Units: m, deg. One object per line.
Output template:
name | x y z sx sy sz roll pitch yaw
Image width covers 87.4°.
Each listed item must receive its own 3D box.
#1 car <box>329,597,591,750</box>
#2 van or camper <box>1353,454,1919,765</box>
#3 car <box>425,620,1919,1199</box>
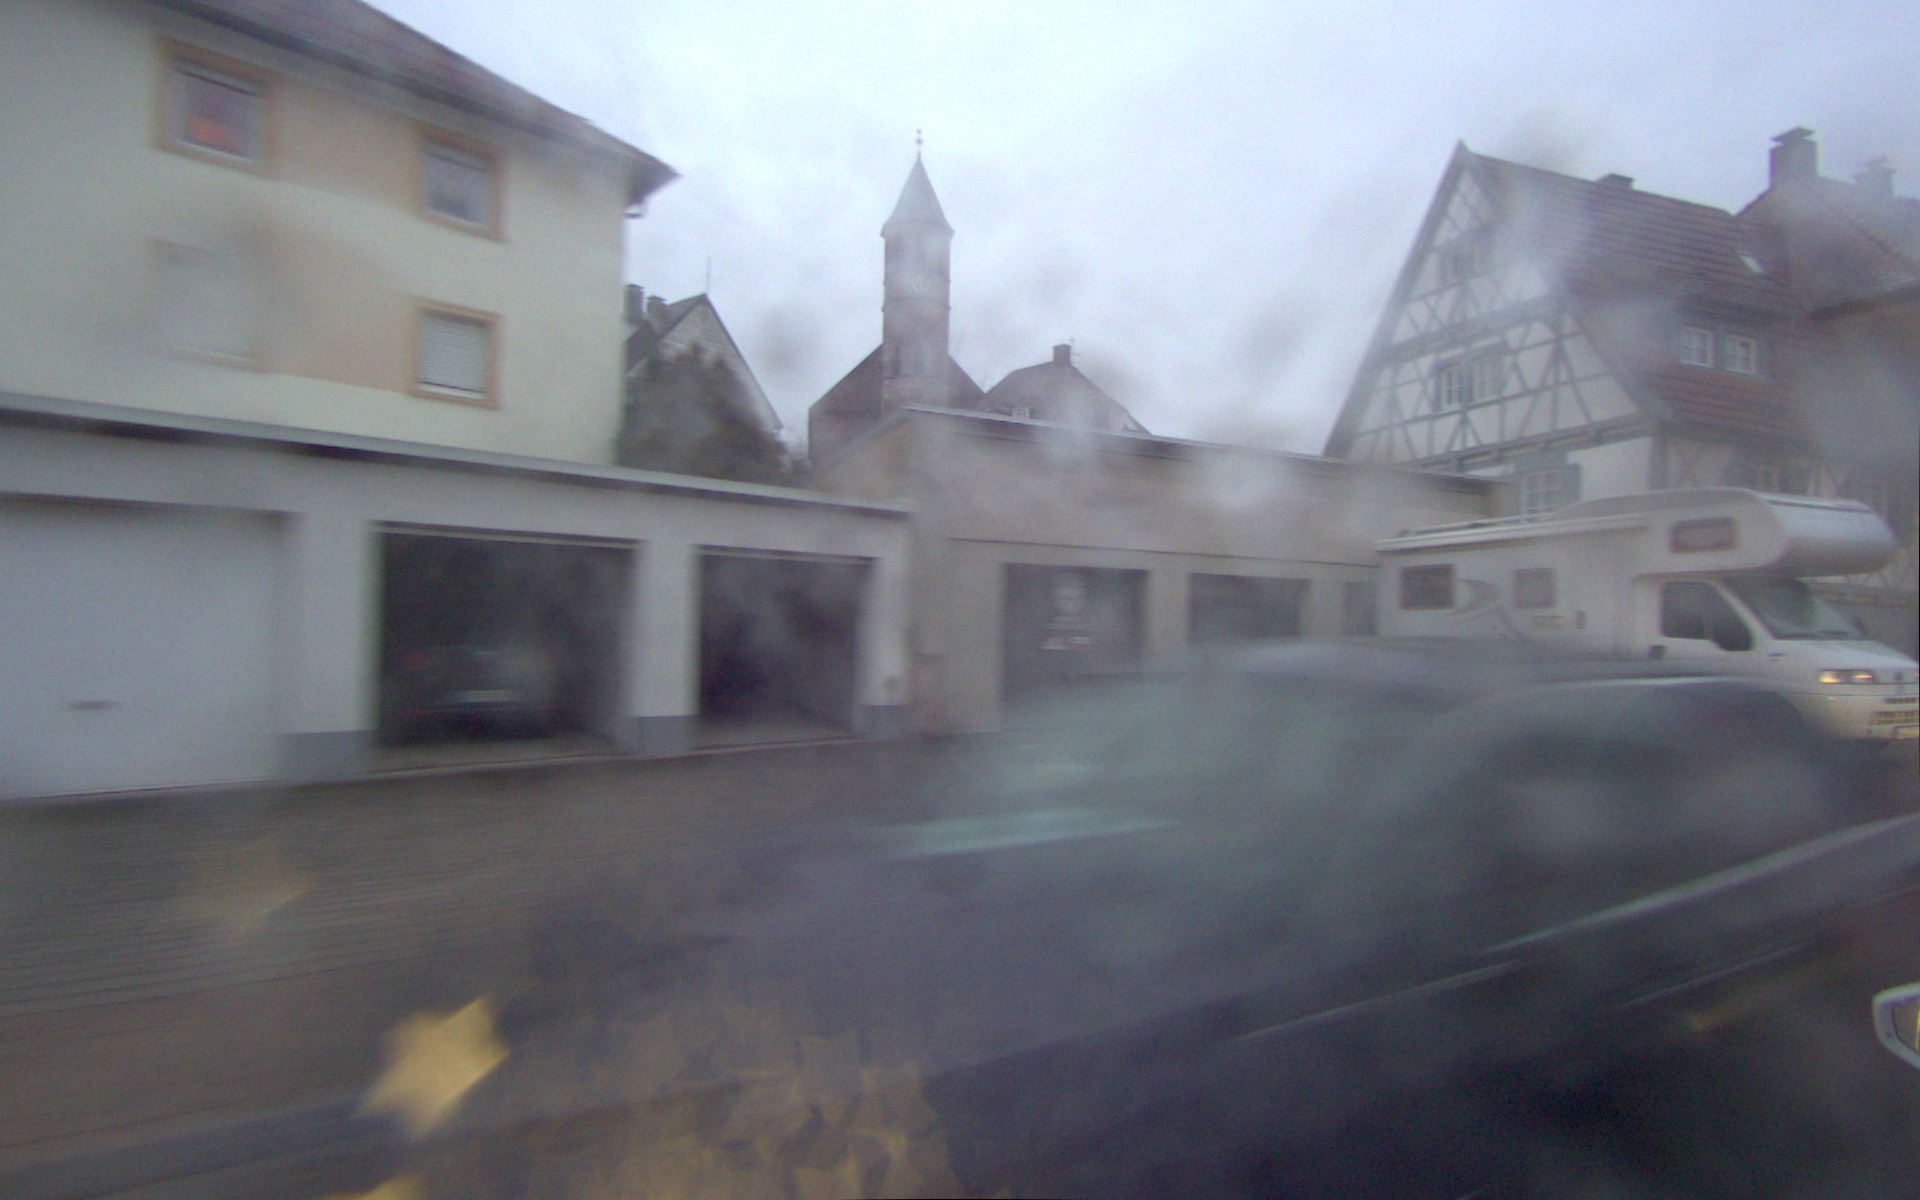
car | -5.870 0.707 11.537 1.982 1.421 3.957 1 -1 -37
van or camper | 8.280 0.277 12.940 2.373 2.993 6.047 1 -4 -24
car | 1.134 0.788 2.586 4.318 1.420 1.858 1 -1 -33
